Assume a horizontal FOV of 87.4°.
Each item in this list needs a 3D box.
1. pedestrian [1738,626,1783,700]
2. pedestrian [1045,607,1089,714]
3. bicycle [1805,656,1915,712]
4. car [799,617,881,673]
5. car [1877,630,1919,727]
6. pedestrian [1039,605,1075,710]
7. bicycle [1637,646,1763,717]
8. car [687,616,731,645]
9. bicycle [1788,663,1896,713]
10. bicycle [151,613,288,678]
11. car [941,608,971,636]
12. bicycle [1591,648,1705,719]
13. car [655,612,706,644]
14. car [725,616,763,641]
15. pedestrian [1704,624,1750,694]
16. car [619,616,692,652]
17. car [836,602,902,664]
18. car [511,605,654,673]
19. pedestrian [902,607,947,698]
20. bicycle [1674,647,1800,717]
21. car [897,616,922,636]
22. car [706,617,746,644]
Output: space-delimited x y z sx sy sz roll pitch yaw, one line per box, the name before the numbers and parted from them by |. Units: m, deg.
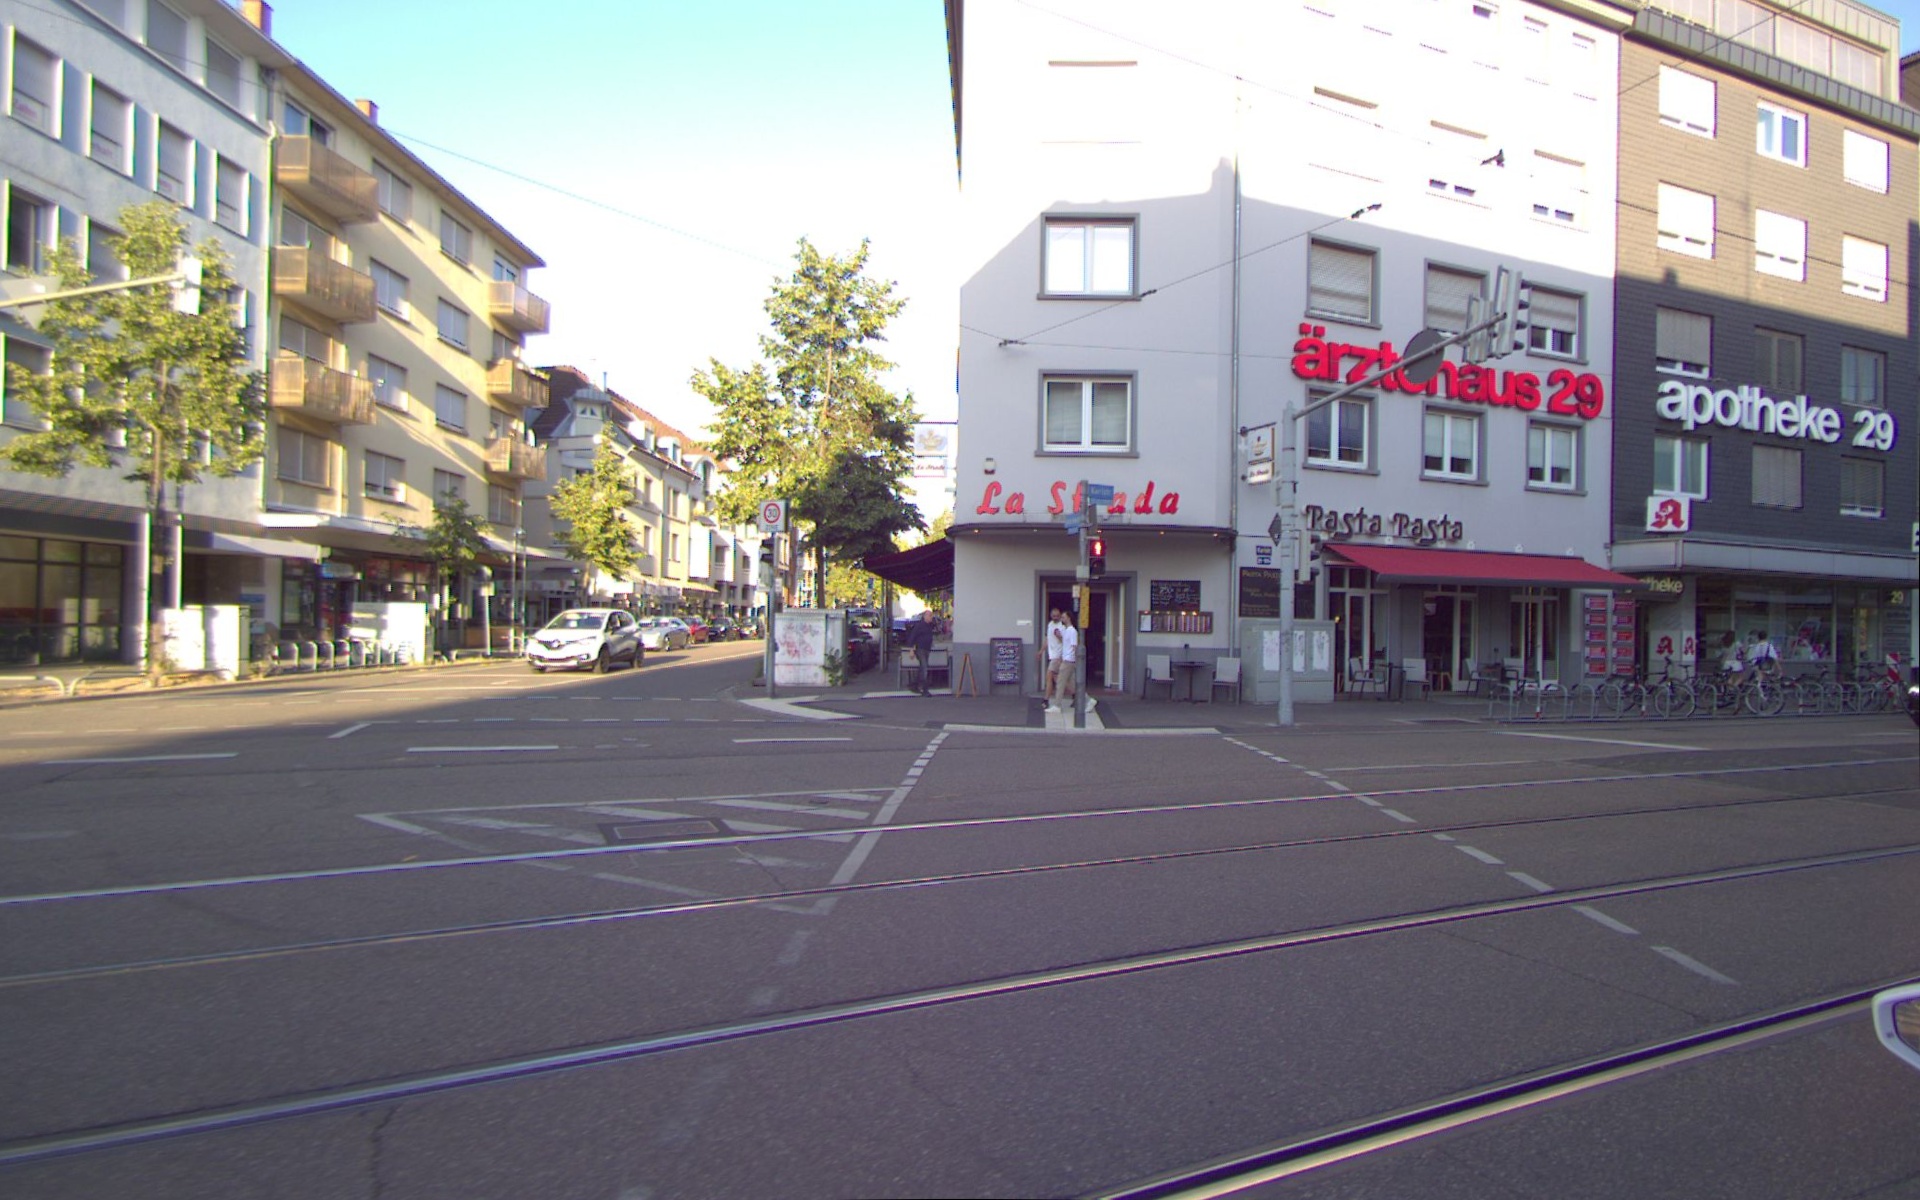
pedestrian | 19.203 1.497 24.097 0.594 1.722 0.619 1 0 -22
pedestrian | 1.806 1.006 17.008 0.655 1.767 0.638 1 -1 0
bicycle | 20.497 1.888 22.926 0.482 1.061 1.827 0 2 -21
car | -3.326 1.221 28.363 1.612 1.463 3.609 1 -1 4
car | 19.557 1.453 18.556 4.657 1.750 1.991 1 -3 -21
pedestrian | 1.710 1.005 17.747 0.588 1.802 0.639 1 -1 5
bicycle | 15.273 1.653 20.805 0.545 1.240 2.108 1 1 -21
car | -14.539 1.760 58.345 1.637 1.574 3.497 1 -1 1
bicycle | 19.758 1.953 22.549 0.449 0.924 1.801 0 2 -21
bicycle | -15.795 0.961 21.475 2.329 1.269 0.639 3 -1 -3
car | -0.259 1.555 72.059 1.820 1.818 4.001 1 1 4
bicycle | 13.875 1.654 20.315 0.545 1.227 1.887 1 1 -21
car | -14.463 1.444 52.116 1.637 1.574 3.497 1 -1 0
car | -14.168 1.876 66.071 1.637 1.574 3.498 1 -1 1
pedestrian | 18.916 1.440 24.790 0.615 1.683 0.681 1 0 -22
car | -12.265 1.354 40.728 1.820 1.367 3.811 1 -1 -1
car | -3.086 1.099 34.654 1.612 1.898 3.608 4 0 4
car | -9.372 0.961 25.302 2.073 1.577 4.013 0 -2 0
pedestrian | -0.682 1.000 19.443 0.689 1.698 0.714 1 -1 10
bicycle | 16.469 1.706 21.356 0.545 1.240 2.108 0 2 -21
car | -4.731 2.439 95.067 1.820 1.817 4.002 2 -1 4
car | -14.448 1.876 62.082 1.637 1.574 3.281 1 -1 1
